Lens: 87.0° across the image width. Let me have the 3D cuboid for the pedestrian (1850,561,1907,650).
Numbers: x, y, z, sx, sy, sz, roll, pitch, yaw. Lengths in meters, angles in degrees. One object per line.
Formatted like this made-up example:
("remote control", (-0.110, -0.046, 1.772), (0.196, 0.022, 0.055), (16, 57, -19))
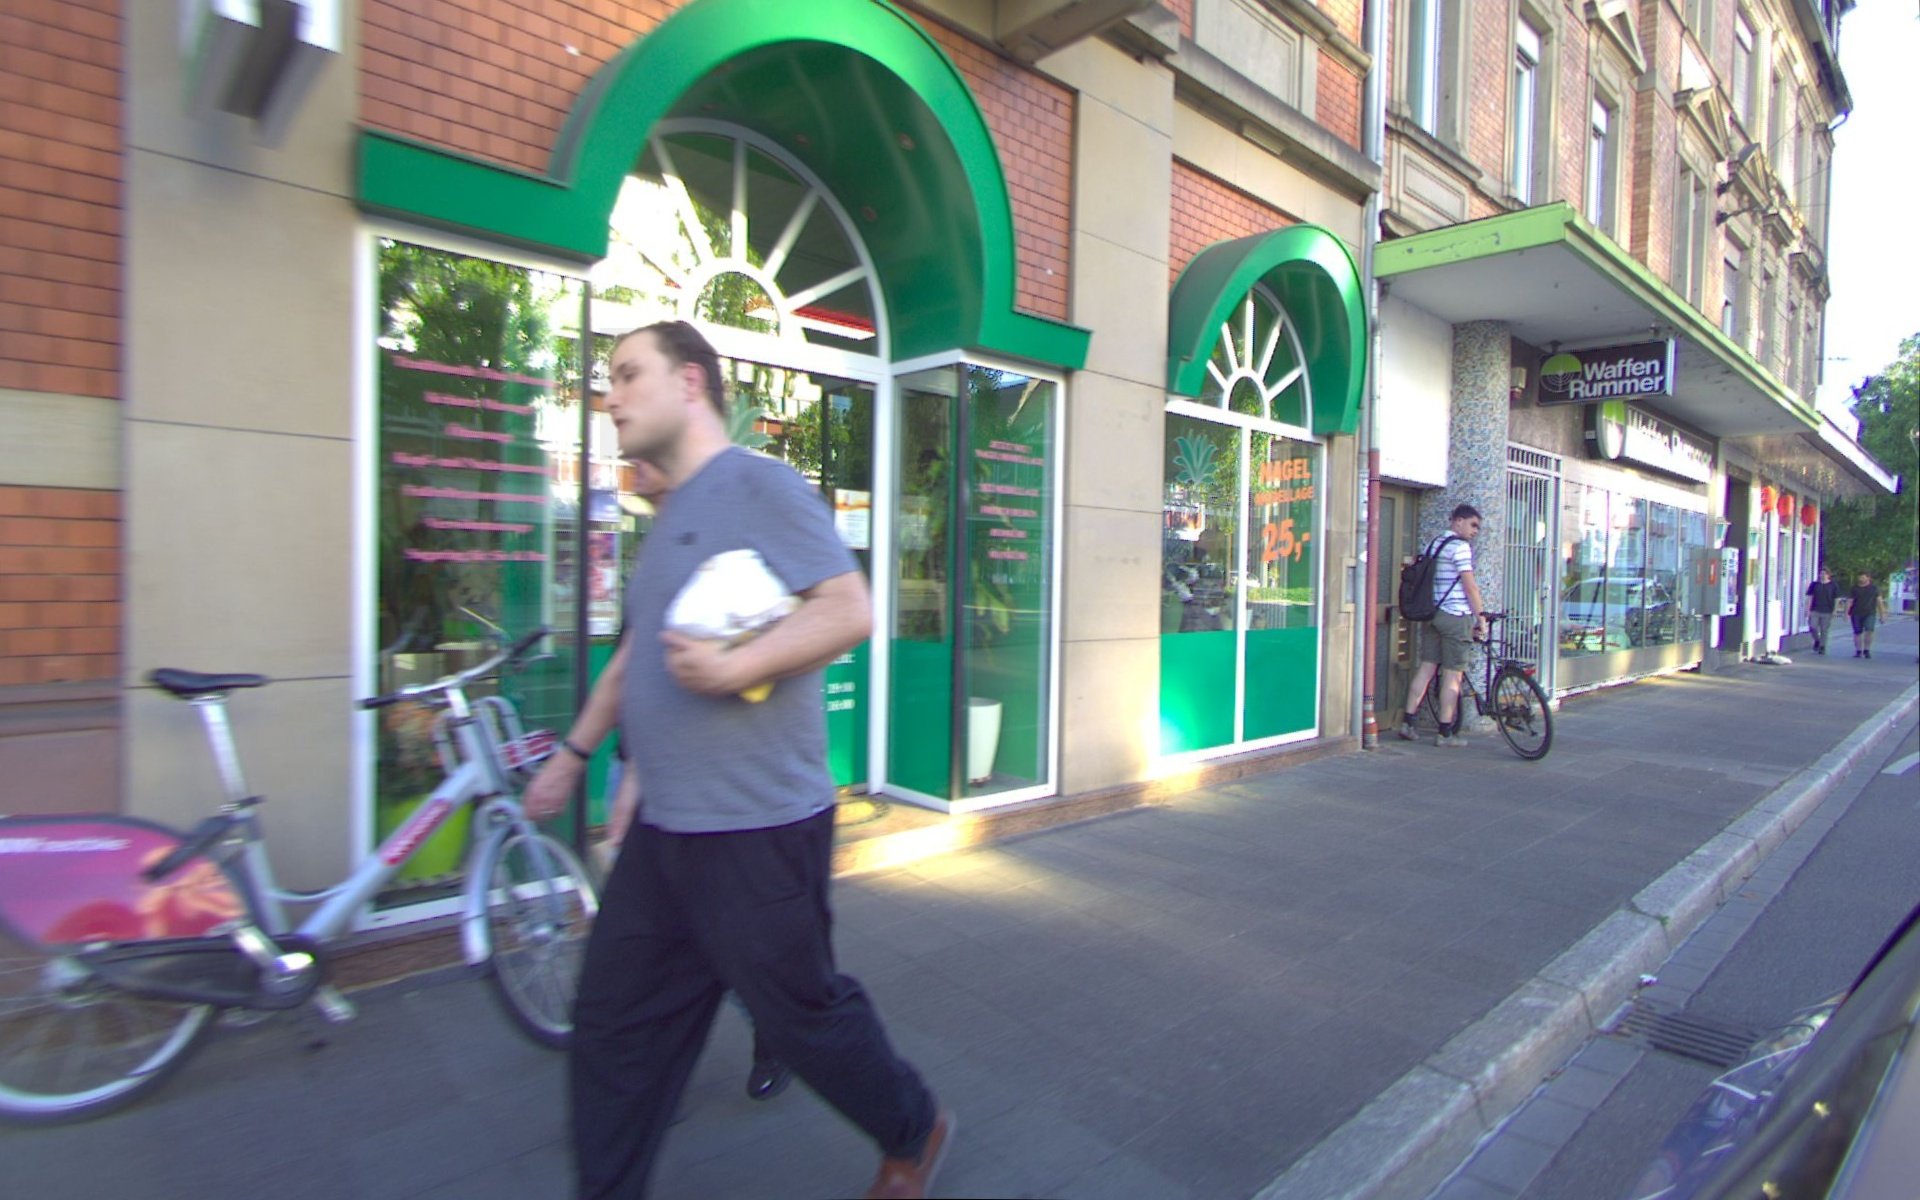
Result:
("pedestrian", (18.601, 0.105, 20.494), (0.494, 1.744, 0.701), (0, 4, -41))

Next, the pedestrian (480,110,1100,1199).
("pedestrian", (-0.341, 0.326, 1.837), (0.741, 1.917, 0.823), (0, 3, -42))

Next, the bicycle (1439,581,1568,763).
("bicycle", (4.376, 0.501, 8.265), (0.660, 1.269, 1.882), (2, 2, 21))

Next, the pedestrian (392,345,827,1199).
("pedestrian", (-0.878, 0.361, 2.483), (0.741, 1.744, 0.777), (0, 3, -42))

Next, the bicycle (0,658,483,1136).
("bicycle", (-1.924, 0.689, 2.602), (1.216, 1.008, 0.346), (0, 3, -34))

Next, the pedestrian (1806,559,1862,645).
("pedestrian", (18.368, 0.032, 21.264), (0.669, 1.744, 0.700), (0, 4, -41))

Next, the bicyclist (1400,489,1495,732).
("bicyclist", (4.016, 0.061, 8.387), (0.593, 1.905, 0.739), (2, 2, 22))
